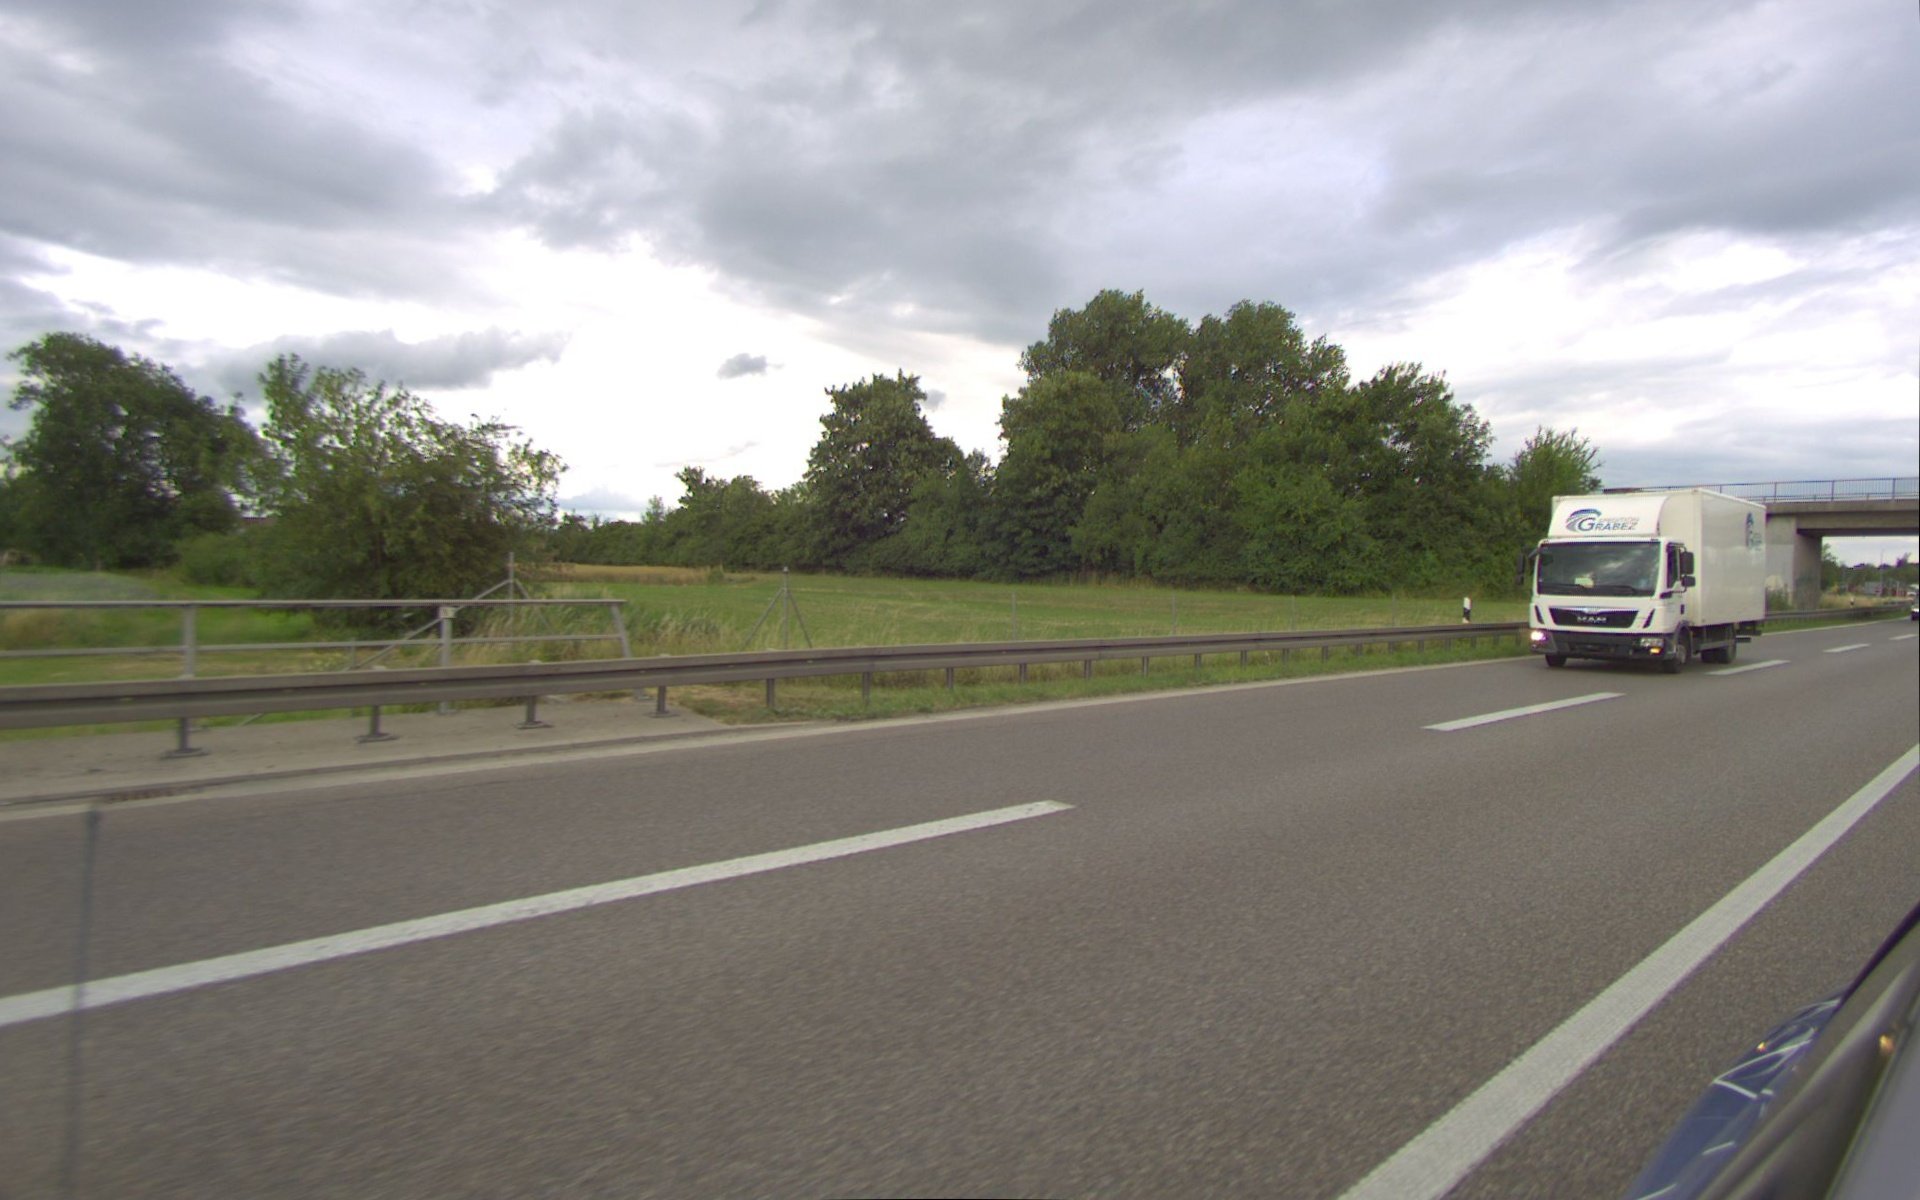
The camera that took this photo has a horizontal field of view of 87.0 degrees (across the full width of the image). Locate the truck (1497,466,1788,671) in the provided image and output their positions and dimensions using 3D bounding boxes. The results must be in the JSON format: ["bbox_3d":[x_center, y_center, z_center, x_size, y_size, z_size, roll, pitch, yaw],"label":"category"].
[{"bbox_3d":[14.721,-0.577,21.444,8.738,3.514,3.109,0,0,-42],"label":"truck"}]
